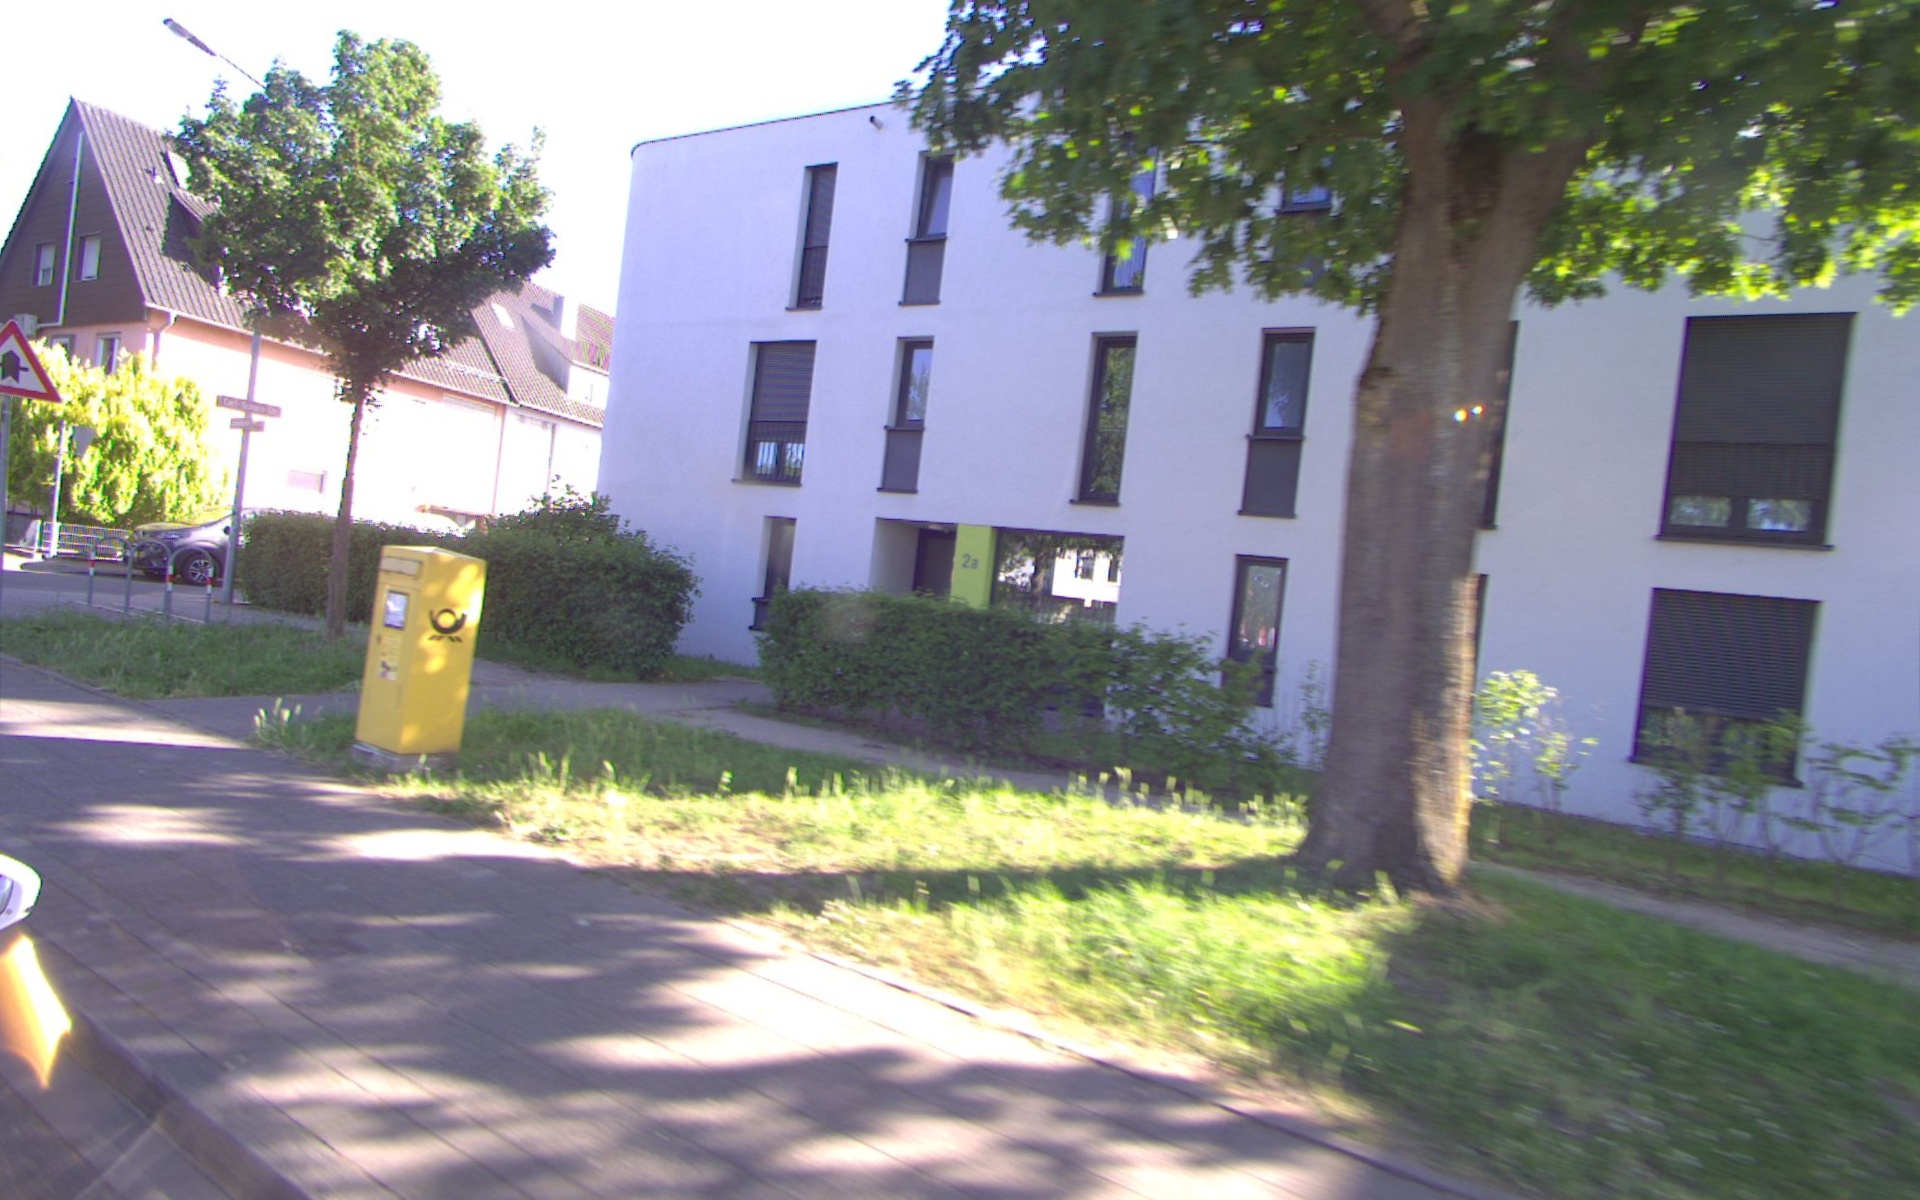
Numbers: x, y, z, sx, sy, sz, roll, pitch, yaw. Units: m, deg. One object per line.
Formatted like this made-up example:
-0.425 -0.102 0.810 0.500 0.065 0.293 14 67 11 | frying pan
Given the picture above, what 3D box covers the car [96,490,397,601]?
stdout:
-16.240 -1.164 23.286 2.036 1.869 5.251 5 -1 27 | car
